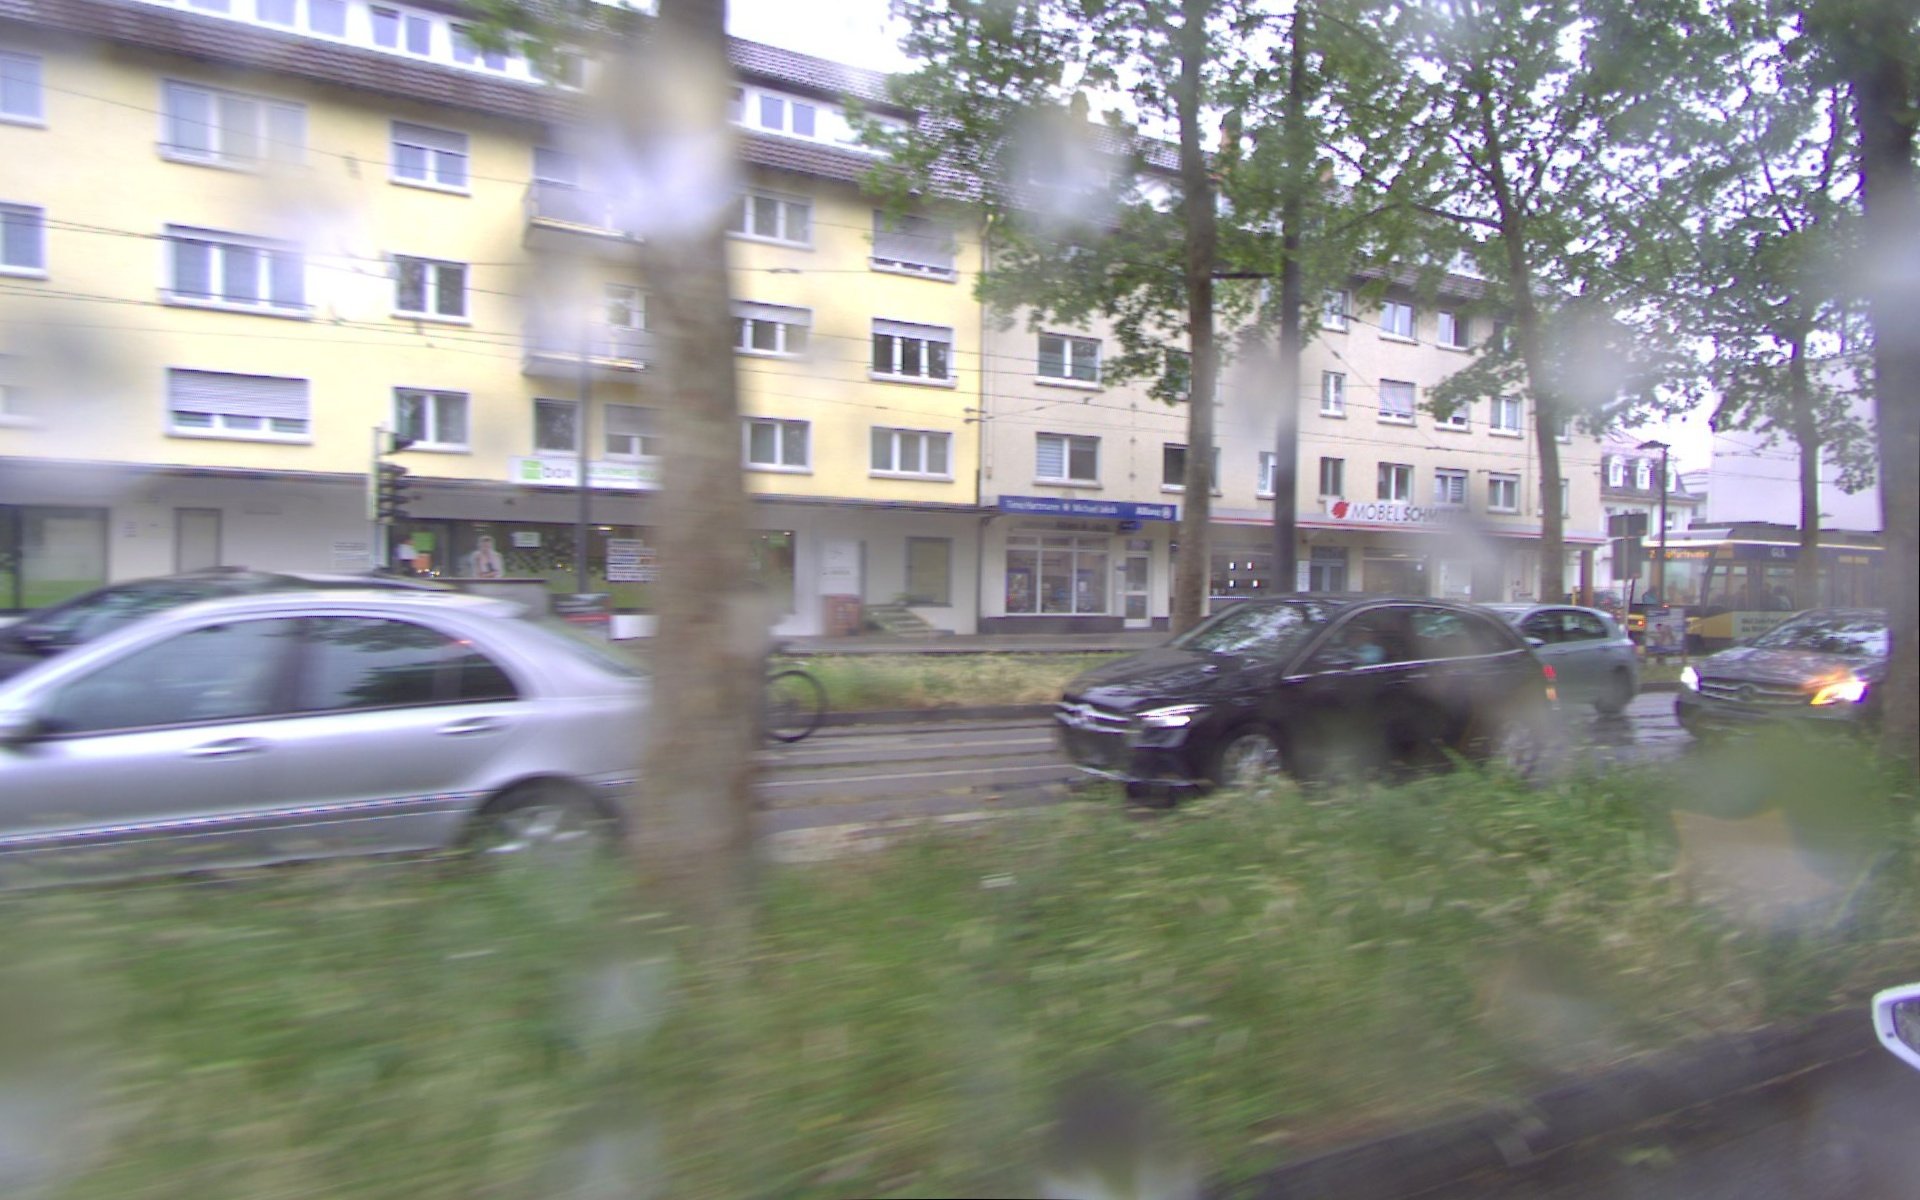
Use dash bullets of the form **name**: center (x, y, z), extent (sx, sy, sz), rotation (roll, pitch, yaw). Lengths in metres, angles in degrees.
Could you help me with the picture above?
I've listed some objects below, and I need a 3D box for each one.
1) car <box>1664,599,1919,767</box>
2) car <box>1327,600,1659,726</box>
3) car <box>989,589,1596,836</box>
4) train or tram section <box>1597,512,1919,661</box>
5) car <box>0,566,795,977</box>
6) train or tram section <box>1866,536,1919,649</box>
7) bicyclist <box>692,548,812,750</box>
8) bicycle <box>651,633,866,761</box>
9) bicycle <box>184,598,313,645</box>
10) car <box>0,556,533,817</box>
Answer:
- **car**: center (9.946, 0.773, 10.953), extent (4.370, 1.500, 1.736), rotation (0, 1, -25)
- **car**: center (7.028, 0.733, 13.231), extent (4.073, 1.416, 1.736), rotation (0, 1, -25)
- **car**: center (2.688, 0.696, 8.024), extent (4.576, 1.505, 1.851), rotation (0, 1, -25)
- **train or tram section**: center (24.376, -0.240, 28.824), extent (14.382, 3.606, 3.096), rotation (1, 1, -26)
- **car**: center (-3.174, 0.611, 4.774), extent (4.439, 1.509, 1.729), rotation (0, 1, -25)
- **train or tram section**: center (37.263, -0.120, 35.084), extent (14.479, 3.606, 3.096), rotation (1, 1, -26)
- **bicyclist**: center (-1.905, 0.430, 9.165), extent (0.879, 1.739, 0.709), rotation (2, 0, -28)
- **bicycle**: center (-1.836, 0.854, 9.211), extent (1.793, 1.045, 0.714), rotation (2, 0, -28)
- **bicycle**: center (-14.282, 0.432, 20.218), extent (2.018, 0.909, 0.610), rotation (1, 1, -24)
- **car**: center (-5.372, 0.487, 7.027), extent (4.232, 1.522, 1.865), rotation (0, 1, -30)
